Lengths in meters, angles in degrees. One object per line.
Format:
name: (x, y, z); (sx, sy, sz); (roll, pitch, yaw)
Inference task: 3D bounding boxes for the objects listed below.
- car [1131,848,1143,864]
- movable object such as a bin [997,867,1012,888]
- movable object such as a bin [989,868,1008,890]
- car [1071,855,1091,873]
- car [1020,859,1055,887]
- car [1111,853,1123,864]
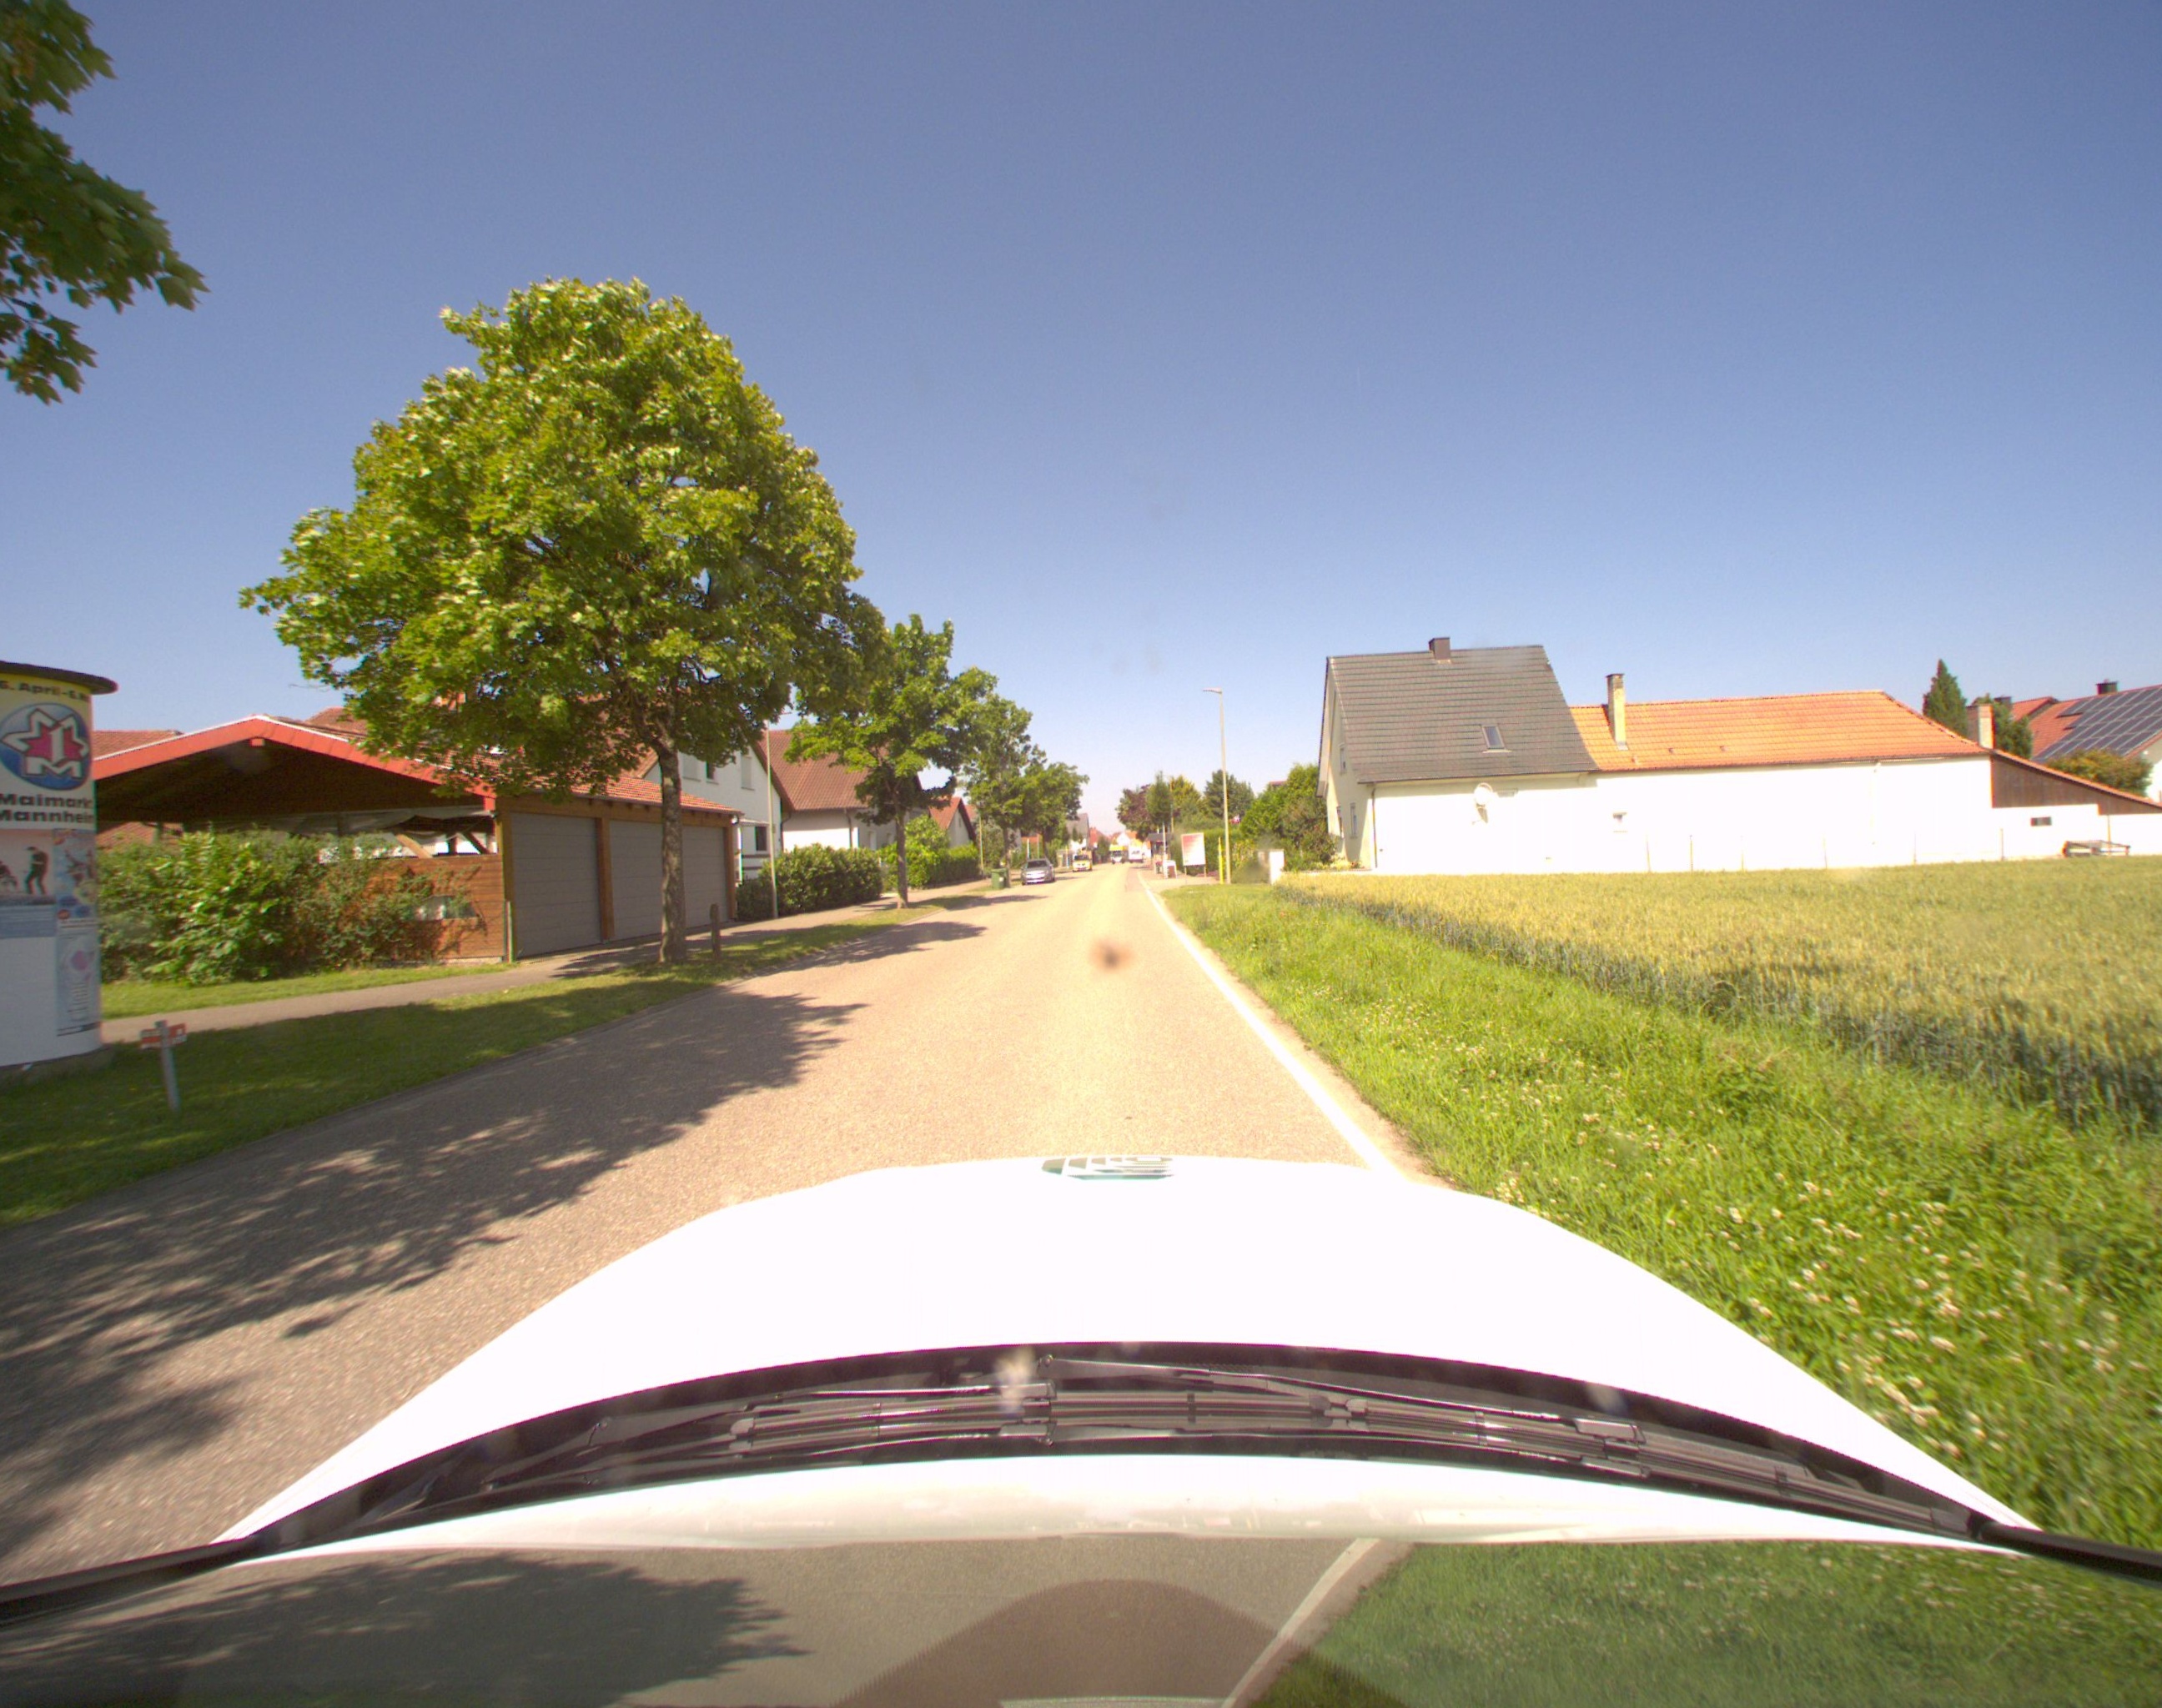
car: (9.002, 0.324, 131.507); (1.730, 2.432, 4.377); (-3, 0, 3)
movable object such as a bin: (-4.015, 1.247, 42.978); (0.570, 1.079, 0.601); (-3, -1, 16)
movable object such as a bin: (-4.284, 1.291, 42.337); (0.706, 1.079, 0.643); (-3, -1, 28)
car: (0.045, 0.901, 73.964); (1.660, 1.524, 3.443); (-4, 0, 1)
car: (-2.527, 1.056, 47.668); (1.641, 1.423, 4.081); (-5, 0, 1)
car: (5.899, 0.717, 133.816); (1.829, 1.752, 3.796); (-3, 0, 1)
